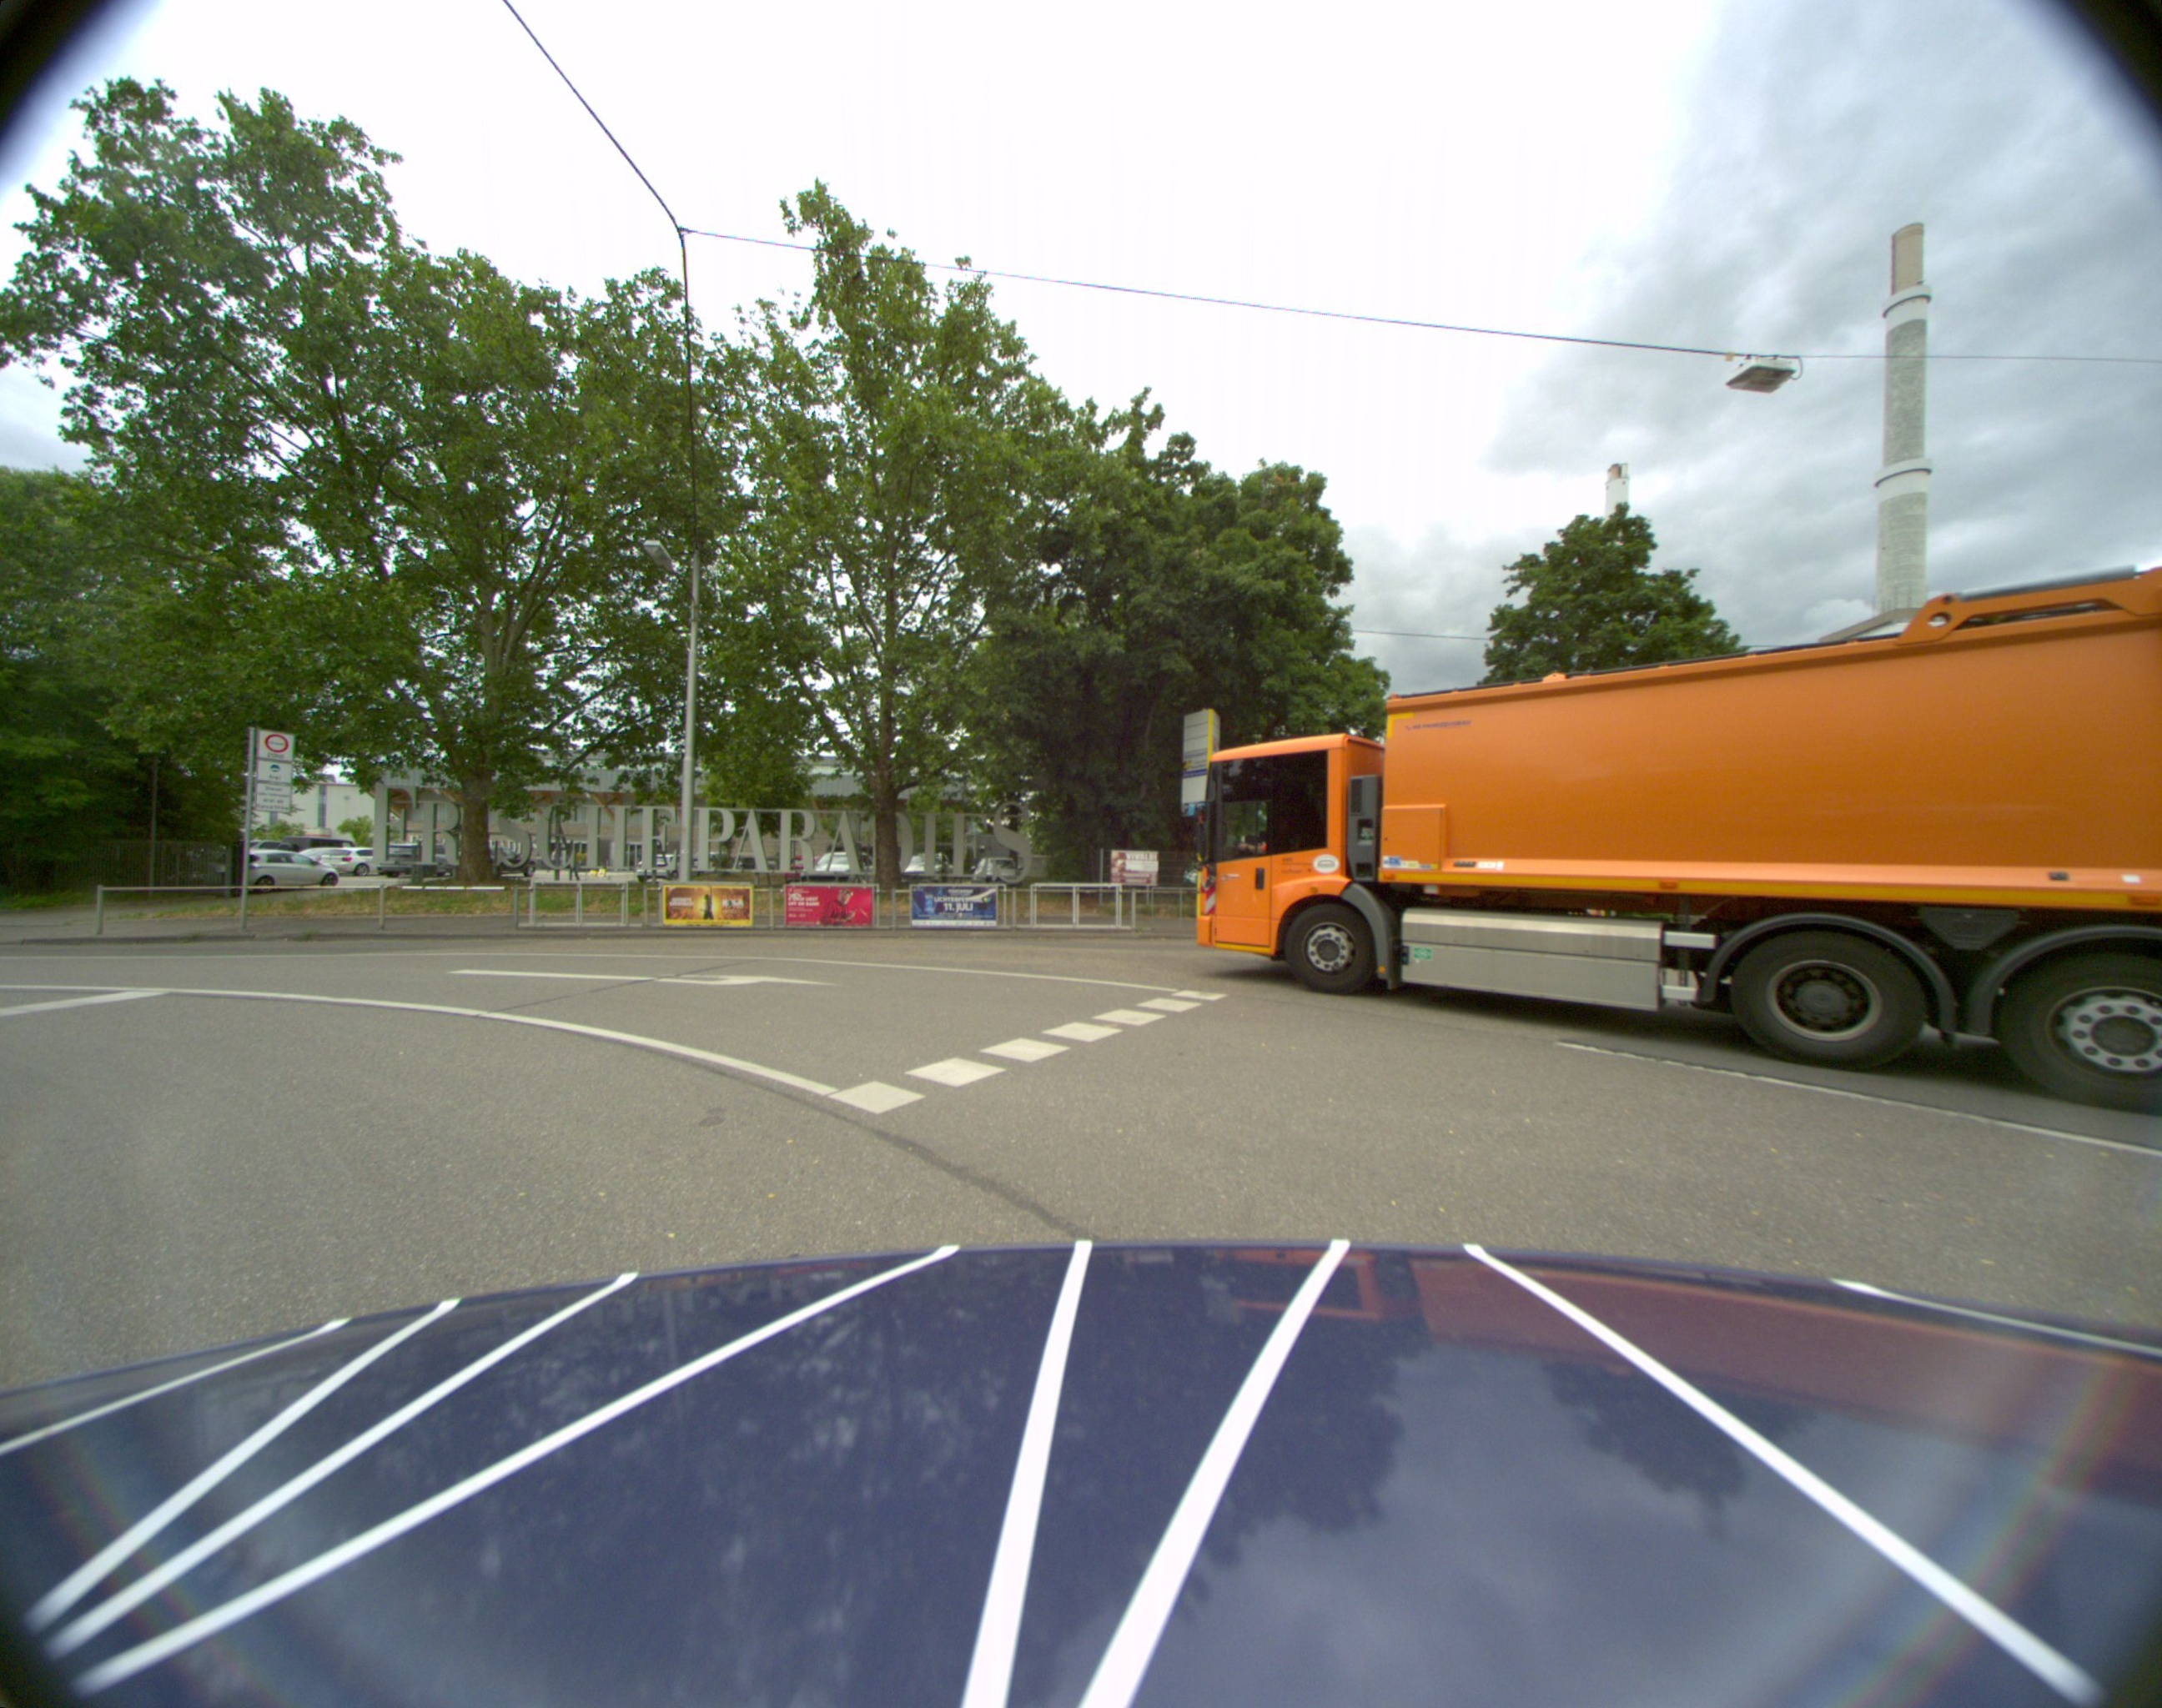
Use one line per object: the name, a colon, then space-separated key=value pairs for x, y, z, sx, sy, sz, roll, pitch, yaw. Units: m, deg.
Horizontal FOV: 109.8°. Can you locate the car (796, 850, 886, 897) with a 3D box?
car: x=-8.981 y=0.746 z=28.899 sx=1.883 sy=1.603 sz=4.527 roll=1 pitch=-2 yaw=1

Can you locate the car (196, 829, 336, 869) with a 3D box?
car: x=-43.506 y=-0.189 z=40.785 sx=1.999 sy=1.986 sz=5.103 roll=1 pitch=-1 yaw=-1

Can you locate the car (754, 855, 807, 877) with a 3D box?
car: x=-21.867 y=0.887 z=55.438 sx=1.999 sy=1.552 sz=4.641 roll=1 pitch=-1 yaw=-1

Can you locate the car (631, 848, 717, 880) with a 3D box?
car: x=-21.125 y=0.551 z=39.713 sx=1.999 sy=1.552 sz=4.641 roll=1 pitch=-1 yaw=-1

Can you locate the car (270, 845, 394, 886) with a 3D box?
car: x=-39.714 y=0.632 z=40.463 sx=1.999 sy=2.001 sz=4.641 roll=1 pitch=-1 yaw=-1

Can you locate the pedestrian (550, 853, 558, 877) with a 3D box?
pedestrian: x=-38.435 y=0.819 z=55.440 sx=0.342 sy=1.754 sz=0.437 roll=2 pitch=-2 yaw=-23

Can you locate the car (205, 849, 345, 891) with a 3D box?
car: x=-30.486 y=0.602 z=28.905 sx=1.481 sy=1.495 sz=3.729 roll=1 pitch=-1 yaw=-4

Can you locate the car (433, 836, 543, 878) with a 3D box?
car: x=-30.334 y=0.185 z=39.074 sx=1.999 sy=2.001 sz=4.641 roll=1 pitch=-1 yaw=-1

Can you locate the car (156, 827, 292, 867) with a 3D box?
car: x=-46.695 y=-0.309 z=41.597 sx=1.999 sy=2.001 sz=4.824 roll=1 pitch=-1 yaw=-1

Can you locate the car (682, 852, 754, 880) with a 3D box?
car: x=-21.173 y=0.705 z=44.500 sx=1.999 sy=1.552 sz=4.641 roll=1 pitch=-1 yaw=-1

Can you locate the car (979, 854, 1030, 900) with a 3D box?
car: x=-2.837 y=0.868 z=28.749 sx=1.591 sy=1.603 sz=4.001 roll=1 pitch=-2 yaw=-1

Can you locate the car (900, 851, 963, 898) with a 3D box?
car: x=-5.541 y=0.776 z=28.695 sx=1.591 sy=1.603 sz=4.318 roll=1 pitch=-2 yaw=-1

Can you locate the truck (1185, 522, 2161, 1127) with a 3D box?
truck: x=5.961 y=-0.127 z=6.669 sx=10.392 sy=3.505 sz=2.804 roll=-1 pitch=-1 yaw=45

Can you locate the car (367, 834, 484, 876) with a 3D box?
car: x=-33.650 y=0.115 z=39.237 sx=1.999 sy=2.001 sz=4.641 roll=1 pitch=-1 yaw=-1

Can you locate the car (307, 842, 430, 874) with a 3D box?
car: x=-36.994 y=0.247 z=39.651 sx=1.999 sy=1.549 sz=4.641 roll=1 pitch=-1 yaw=-1
